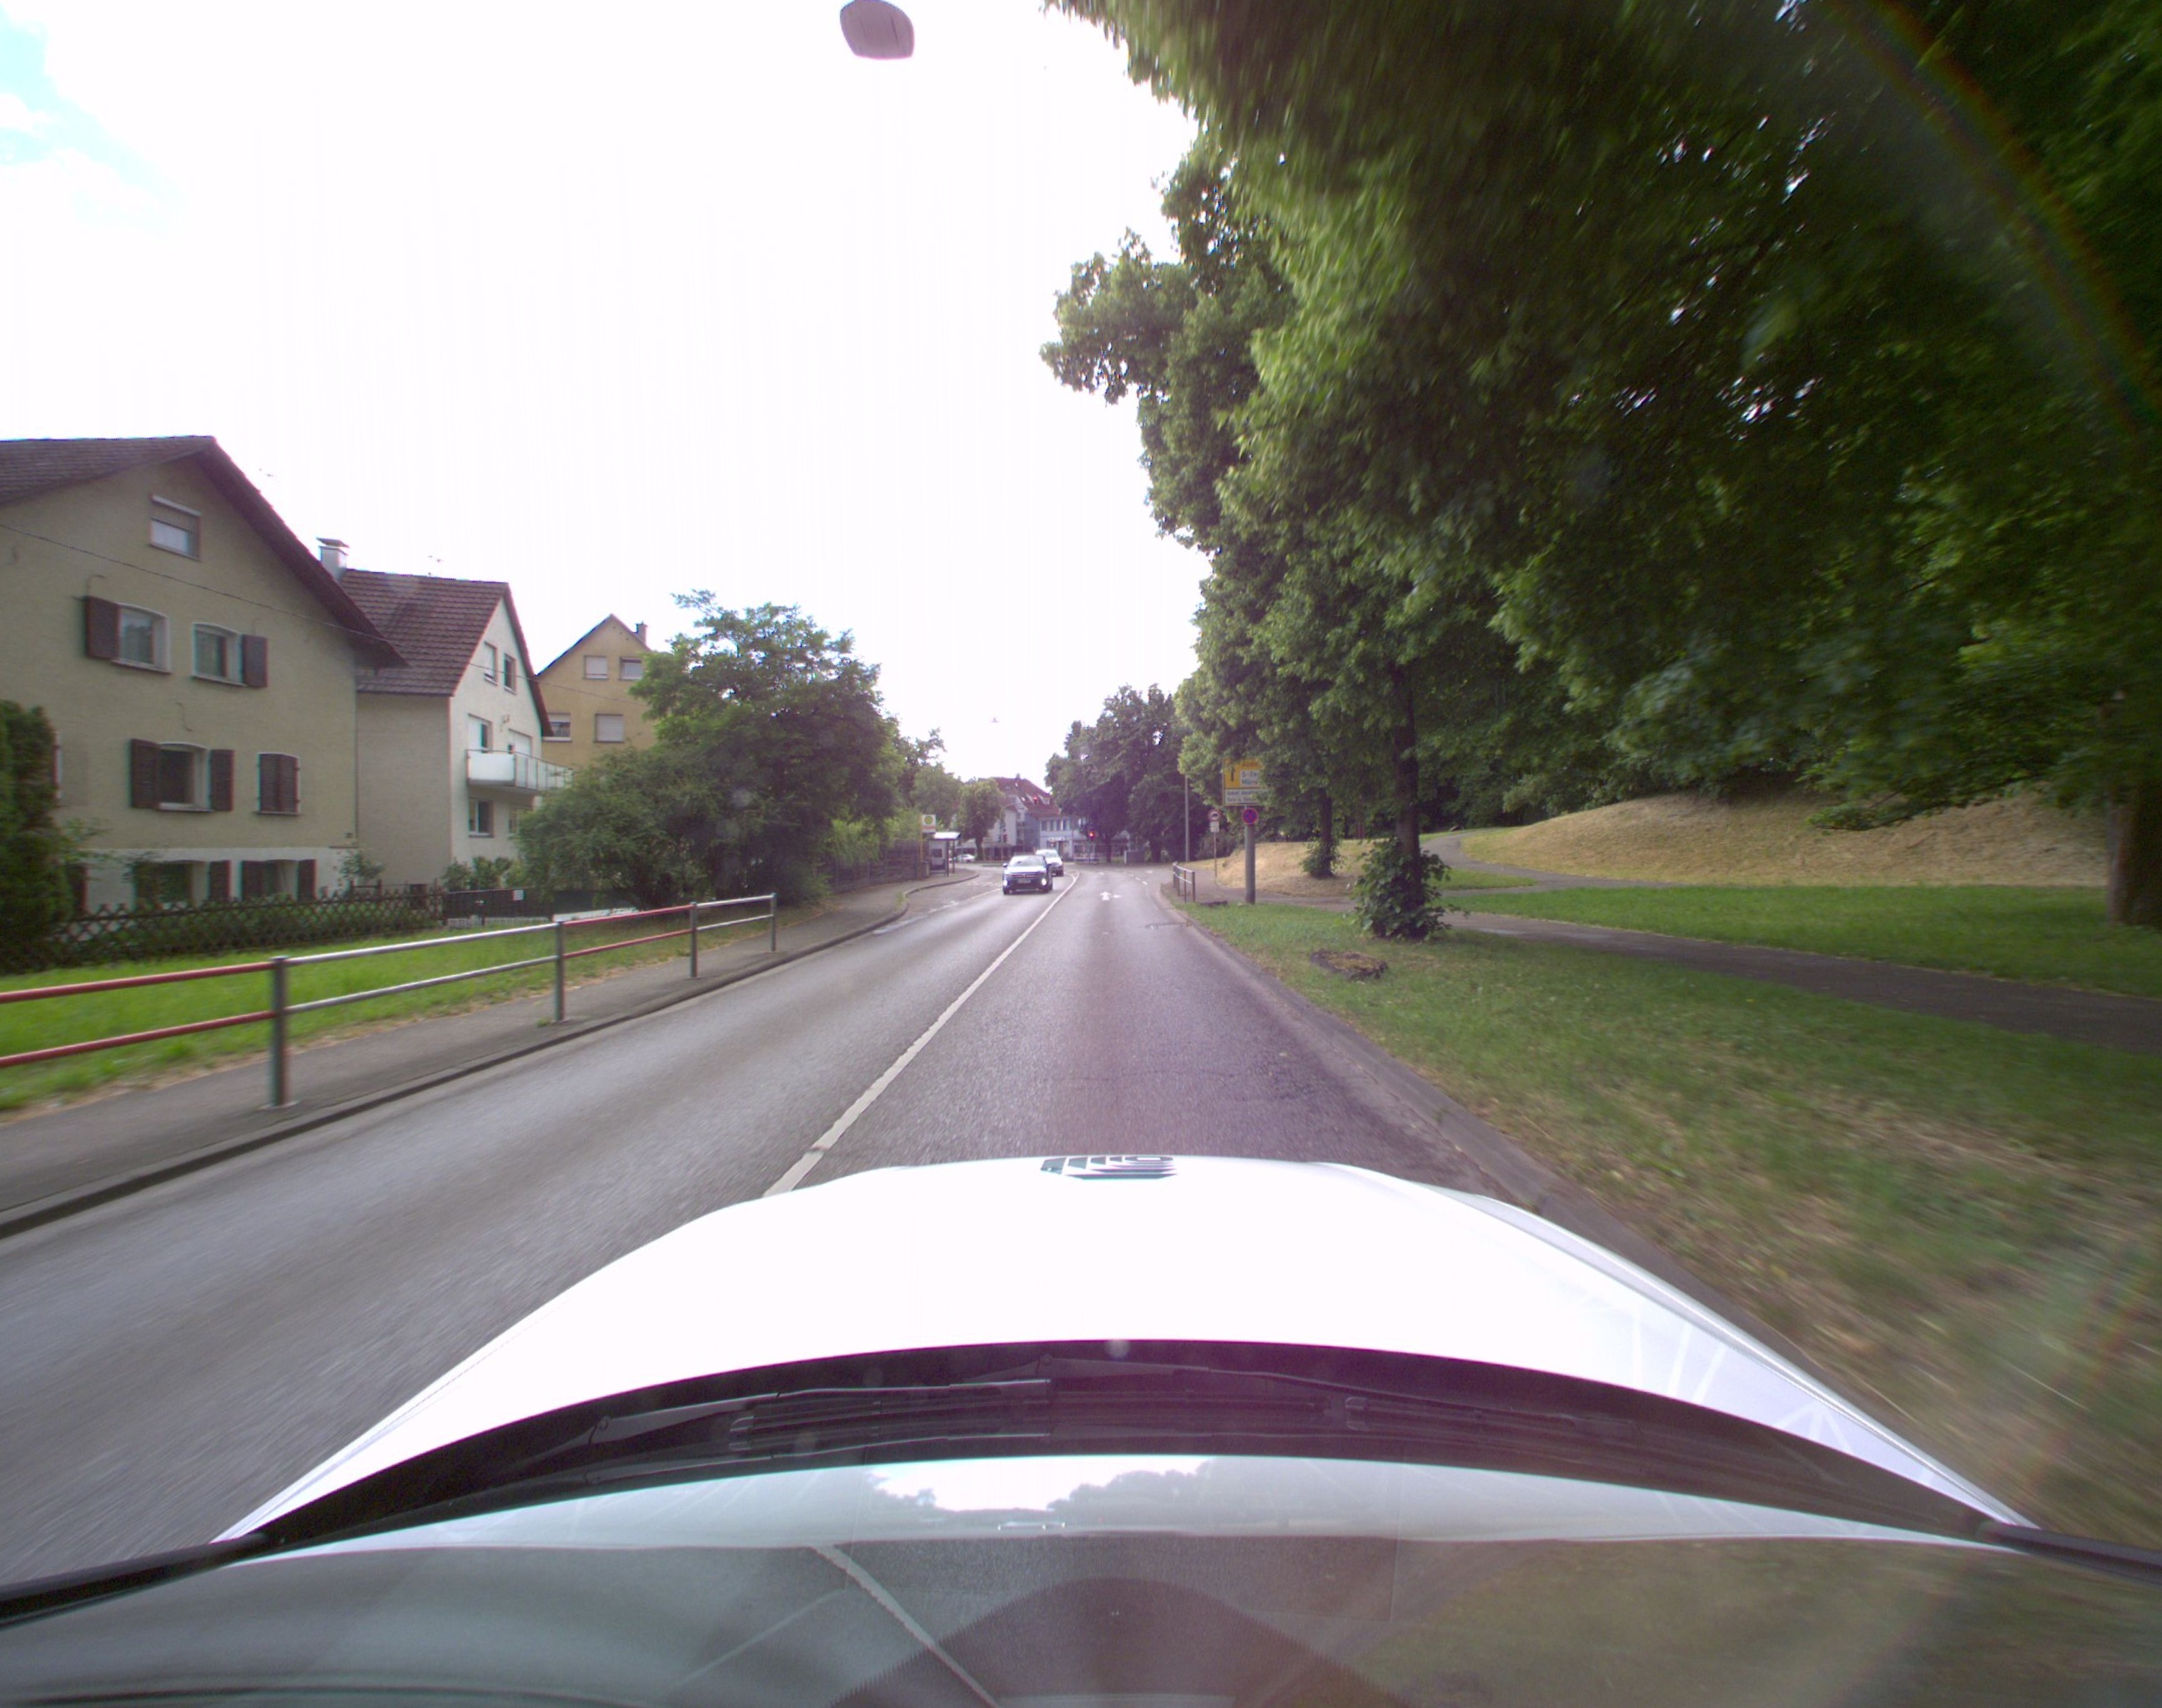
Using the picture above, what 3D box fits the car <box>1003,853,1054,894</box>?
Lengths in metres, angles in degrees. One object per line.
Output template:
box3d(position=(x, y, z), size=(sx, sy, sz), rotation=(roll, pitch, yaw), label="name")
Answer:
box3d(position=(-2.066, 0.738, 32.987), size=(1.710, 1.468, 4.099), rotation=(-2, 0, 0), label="car")

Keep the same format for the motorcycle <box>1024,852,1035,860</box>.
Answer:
box3d(position=(-8.151, 0.268, 128.204), size=(1.484, 1.106, 0.563), rotation=(-2, 5, 14), label="motorcycle")

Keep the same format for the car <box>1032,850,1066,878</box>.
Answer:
box3d(position=(-2.071, 0.663, 54.122), size=(1.928, 1.724, 4.692), rotation=(-2, 0, 1), label="car")

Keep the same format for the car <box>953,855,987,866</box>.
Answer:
box3d(position=(-16.324, 0.980, 119.935), size=(4.542, 1.517, 2.009), rotation=(-2, 0, 16), label="car")
